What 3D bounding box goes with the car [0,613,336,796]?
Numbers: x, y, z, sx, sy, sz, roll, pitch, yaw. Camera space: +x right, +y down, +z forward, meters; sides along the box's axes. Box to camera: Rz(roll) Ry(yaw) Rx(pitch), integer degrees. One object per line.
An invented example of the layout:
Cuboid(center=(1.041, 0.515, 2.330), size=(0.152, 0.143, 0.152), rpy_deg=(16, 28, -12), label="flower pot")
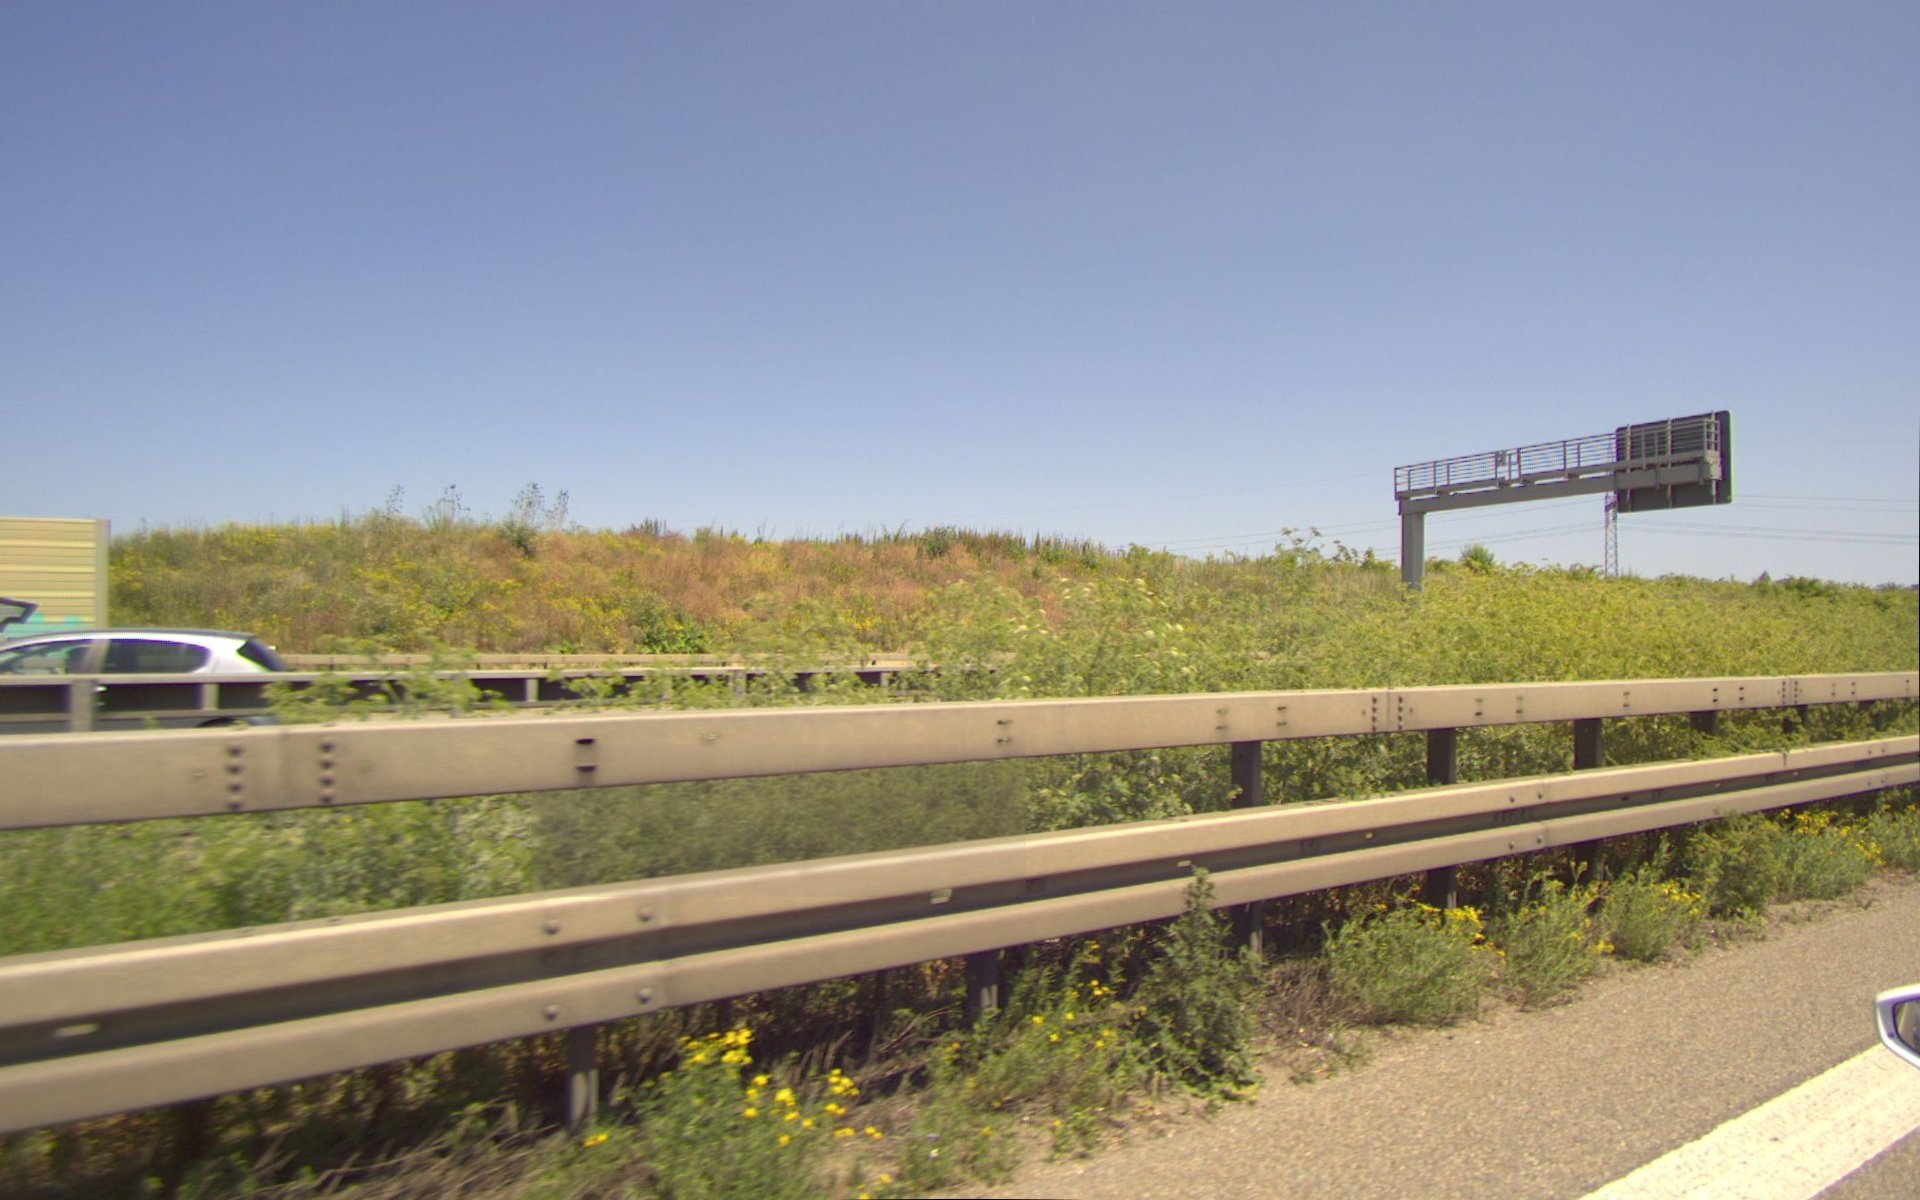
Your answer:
Cuboid(center=(-8.133, 0.939, 9.364), size=(3.839, 1.530, 1.665), rpy_deg=(2, -4, -31), label="car")
